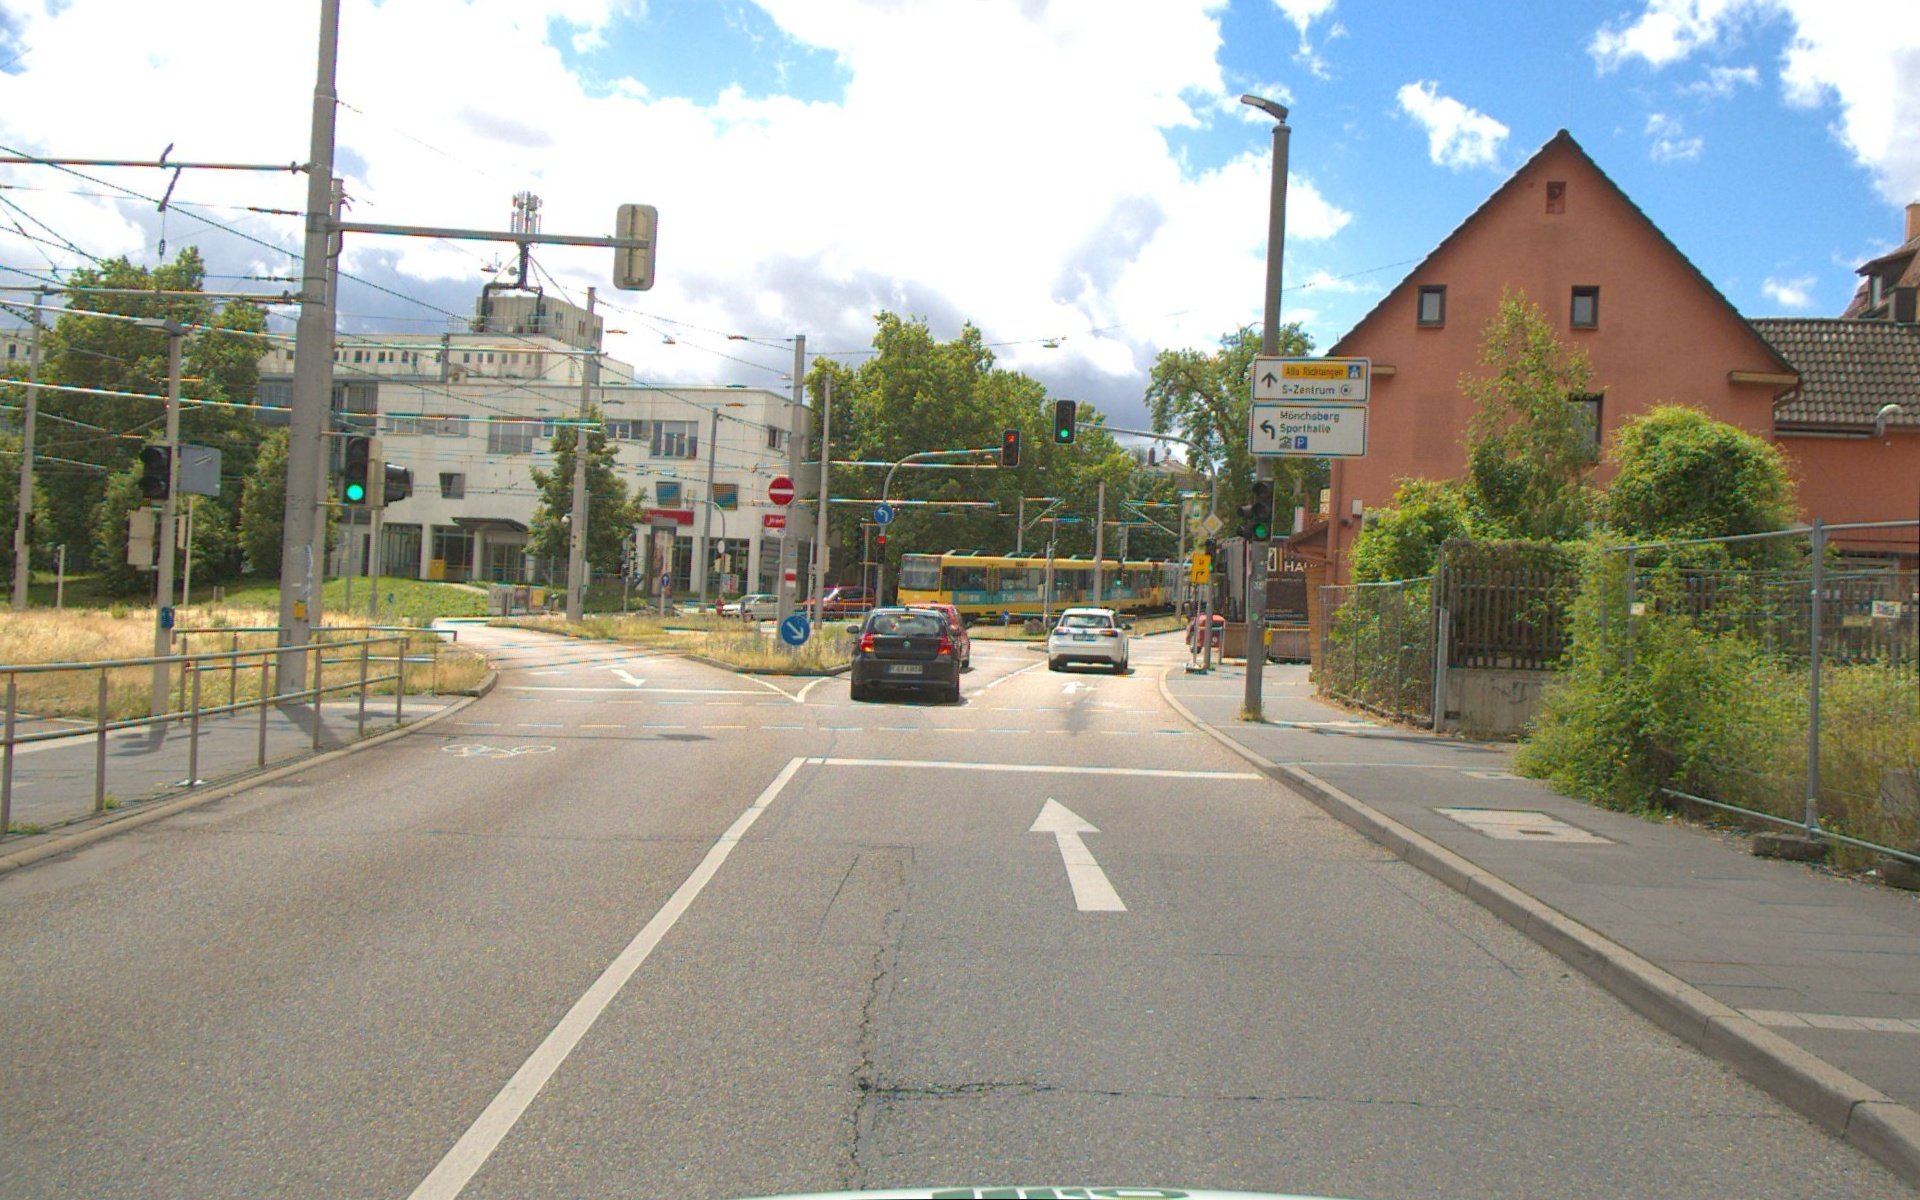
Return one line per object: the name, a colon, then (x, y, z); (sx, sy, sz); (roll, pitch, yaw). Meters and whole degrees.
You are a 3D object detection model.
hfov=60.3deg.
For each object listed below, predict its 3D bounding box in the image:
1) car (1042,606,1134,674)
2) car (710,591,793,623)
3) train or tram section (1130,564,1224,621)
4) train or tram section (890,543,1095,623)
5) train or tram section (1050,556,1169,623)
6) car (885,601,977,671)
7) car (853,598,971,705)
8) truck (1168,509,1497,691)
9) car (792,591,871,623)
car: (3.179, 0.966, 40.462); (1.848, 1.491, 4.072); (2, -1, 9)
car: (-10.923, 0.380, 86.650); (1.964, 1.489, 3.977); (3, 0, 41)
train or tram section: (16.435, -0.516, 123.294); (2.642, 3.816, 18.361); (3, 1, 21)
train or tram section: (2.239, -0.747, 89.799); (2.647, 3.816, 18.327); (3, 1, 29)
train or tram section: (9.874, -0.568, 106.155); (2.642, 3.816, 18.361); (3, 1, 21)
car: (-0.611, 0.782, 37.736); (1.676, 1.417, 3.811); (2, 0, 5)
car: (-0.794, 0.769, 26.456); (1.692, 1.482, 3.807); (2, 0, -3)
truck: (11.051, 0.052, 49.540); (8.830, 4.614, 3.208); (4, -1, -7)
car: (-7.129, 0.394, 91.822); (1.964, 1.628, 4.176); (3, 1, 40)
